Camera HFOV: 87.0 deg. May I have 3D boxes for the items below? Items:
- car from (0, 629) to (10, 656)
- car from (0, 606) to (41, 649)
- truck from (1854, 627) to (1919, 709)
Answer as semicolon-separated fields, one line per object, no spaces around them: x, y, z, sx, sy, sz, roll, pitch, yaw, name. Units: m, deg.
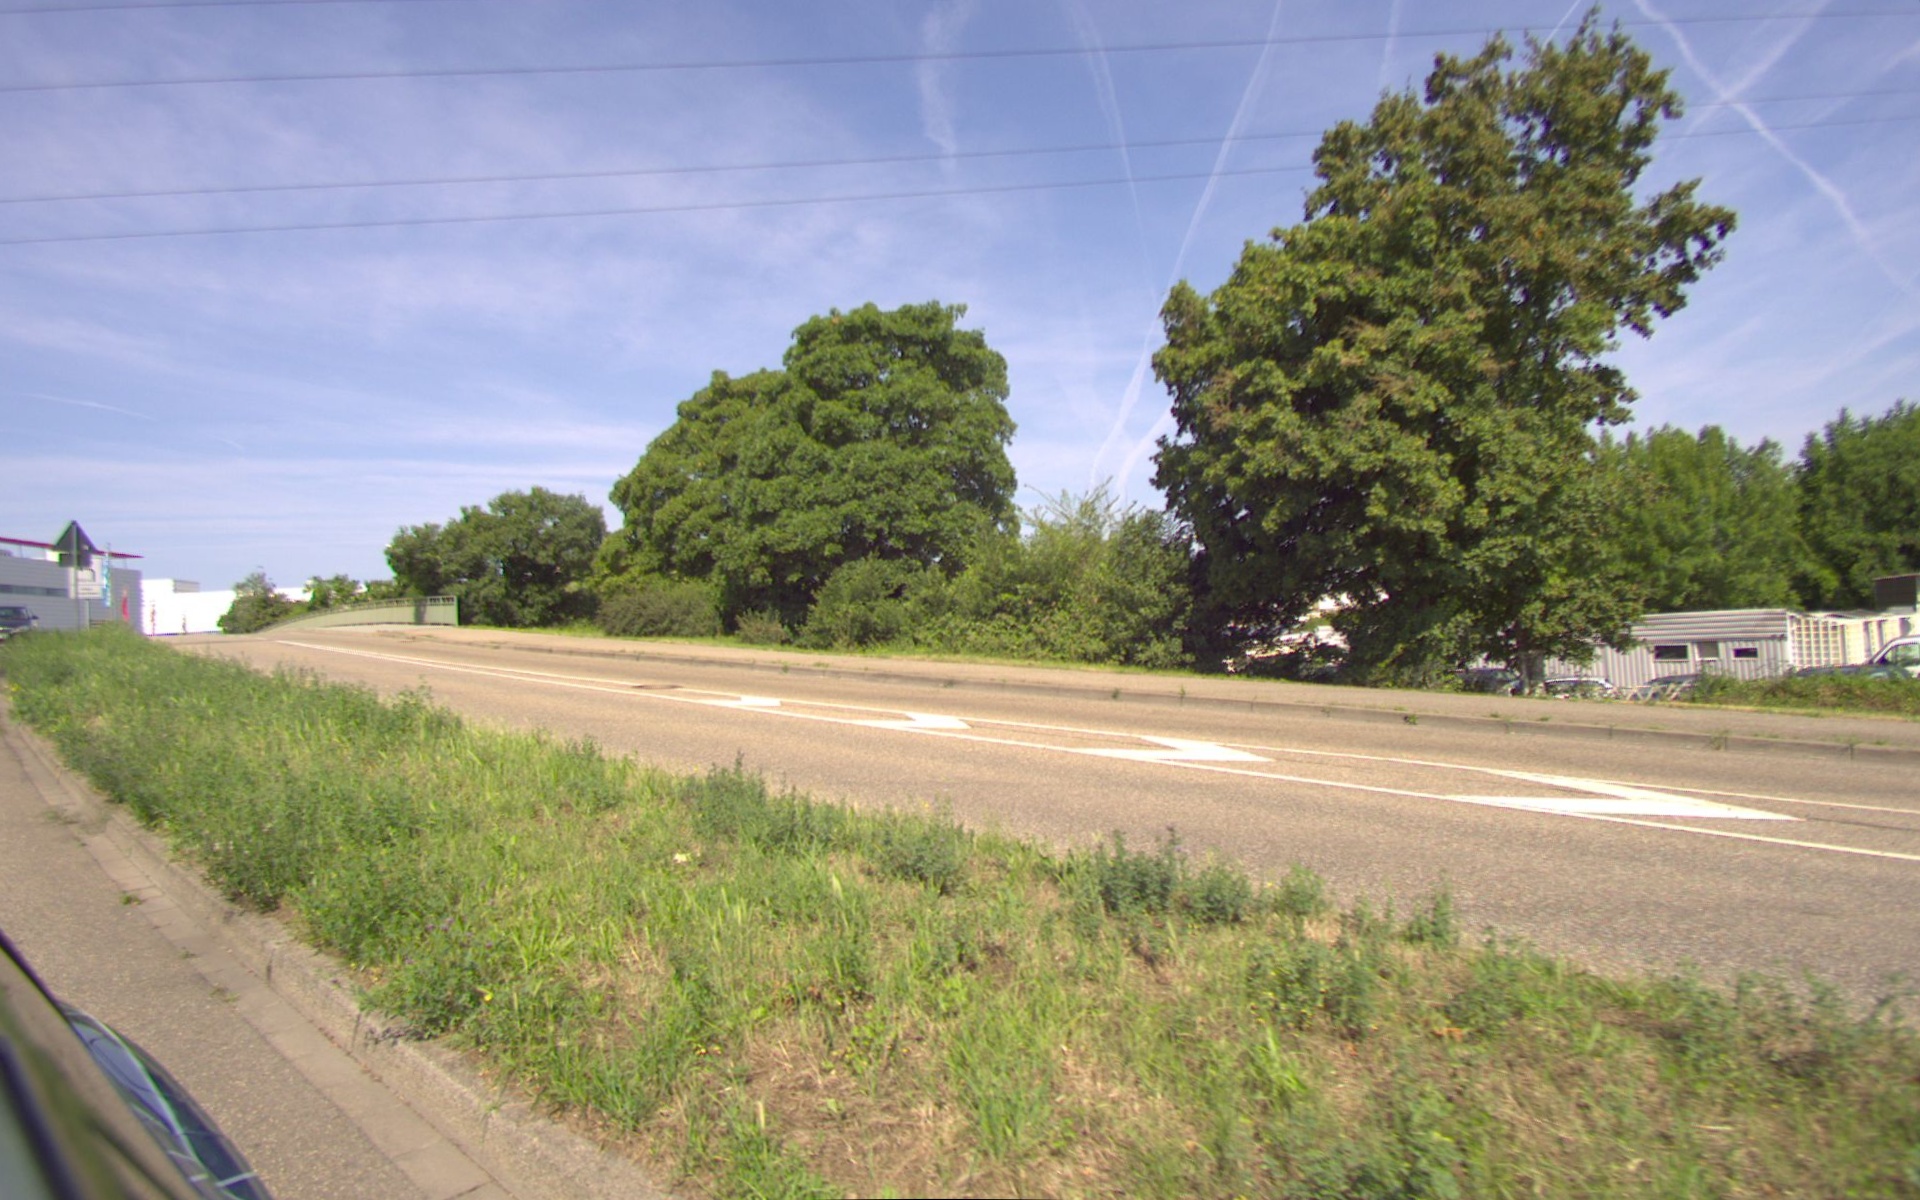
-61.791;2.703;64.313;1.750;1.671;4.151;1;-3;-39;car
-33.479;0.932;35.368;1.821;1.429;4.007;0;-1;-40;car
27.915;1.726;26.538;2.457;2.130;6.378;-1;-3;-42;truck
